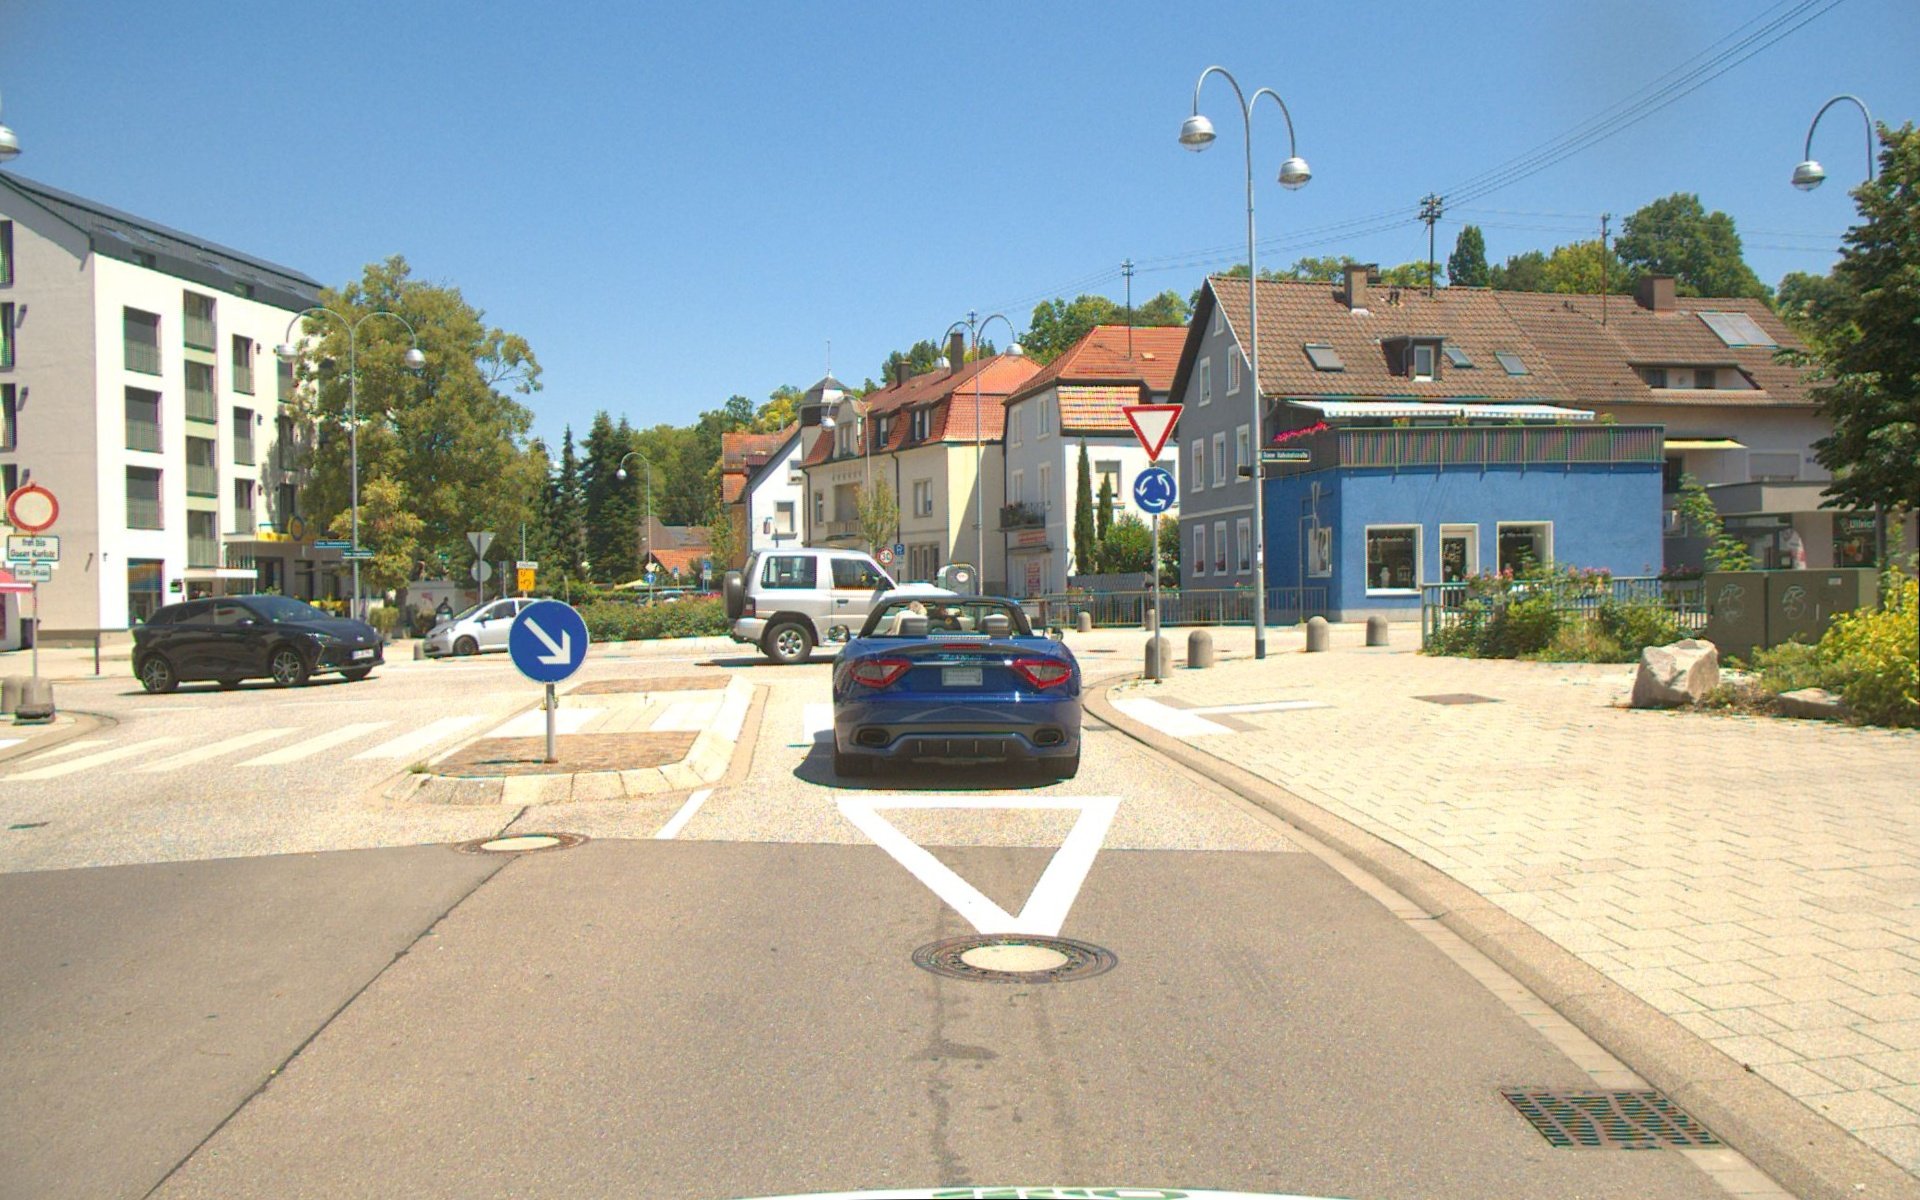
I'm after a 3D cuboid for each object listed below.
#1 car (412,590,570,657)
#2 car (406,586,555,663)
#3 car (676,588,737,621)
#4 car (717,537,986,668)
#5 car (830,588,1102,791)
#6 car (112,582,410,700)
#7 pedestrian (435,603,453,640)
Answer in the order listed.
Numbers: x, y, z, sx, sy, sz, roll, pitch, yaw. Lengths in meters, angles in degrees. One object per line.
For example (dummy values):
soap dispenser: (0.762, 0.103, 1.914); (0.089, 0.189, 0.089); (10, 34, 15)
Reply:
car: (-11.589, 0.555, 40.918); (3.431, 1.475, 1.560); (-3, 0, -36)
car: (-9.596, 0.486, 32.886); (1.972, 1.353, 4.160); (-3, 0, -29)
car: (-13.819, 0.256, 90.060); (1.832, 1.616, 3.956); (-3, 1, -32)
car: (-1.809, 0.008, 27.101); (4.143, 1.907, 1.758); (-2, 2, -12)
car: (0.019, 0.610, 13.577); (1.871, 1.384, 4.285); (0, 0, -1)
car: (-11.585, 0.666, 27.536); (4.158, 1.573, 1.813); (-4, 2, 10)
pedestrian: (-22.923, 0.937, 73.440); (0.523, 1.603, 0.563); (-2, 0, 9)
